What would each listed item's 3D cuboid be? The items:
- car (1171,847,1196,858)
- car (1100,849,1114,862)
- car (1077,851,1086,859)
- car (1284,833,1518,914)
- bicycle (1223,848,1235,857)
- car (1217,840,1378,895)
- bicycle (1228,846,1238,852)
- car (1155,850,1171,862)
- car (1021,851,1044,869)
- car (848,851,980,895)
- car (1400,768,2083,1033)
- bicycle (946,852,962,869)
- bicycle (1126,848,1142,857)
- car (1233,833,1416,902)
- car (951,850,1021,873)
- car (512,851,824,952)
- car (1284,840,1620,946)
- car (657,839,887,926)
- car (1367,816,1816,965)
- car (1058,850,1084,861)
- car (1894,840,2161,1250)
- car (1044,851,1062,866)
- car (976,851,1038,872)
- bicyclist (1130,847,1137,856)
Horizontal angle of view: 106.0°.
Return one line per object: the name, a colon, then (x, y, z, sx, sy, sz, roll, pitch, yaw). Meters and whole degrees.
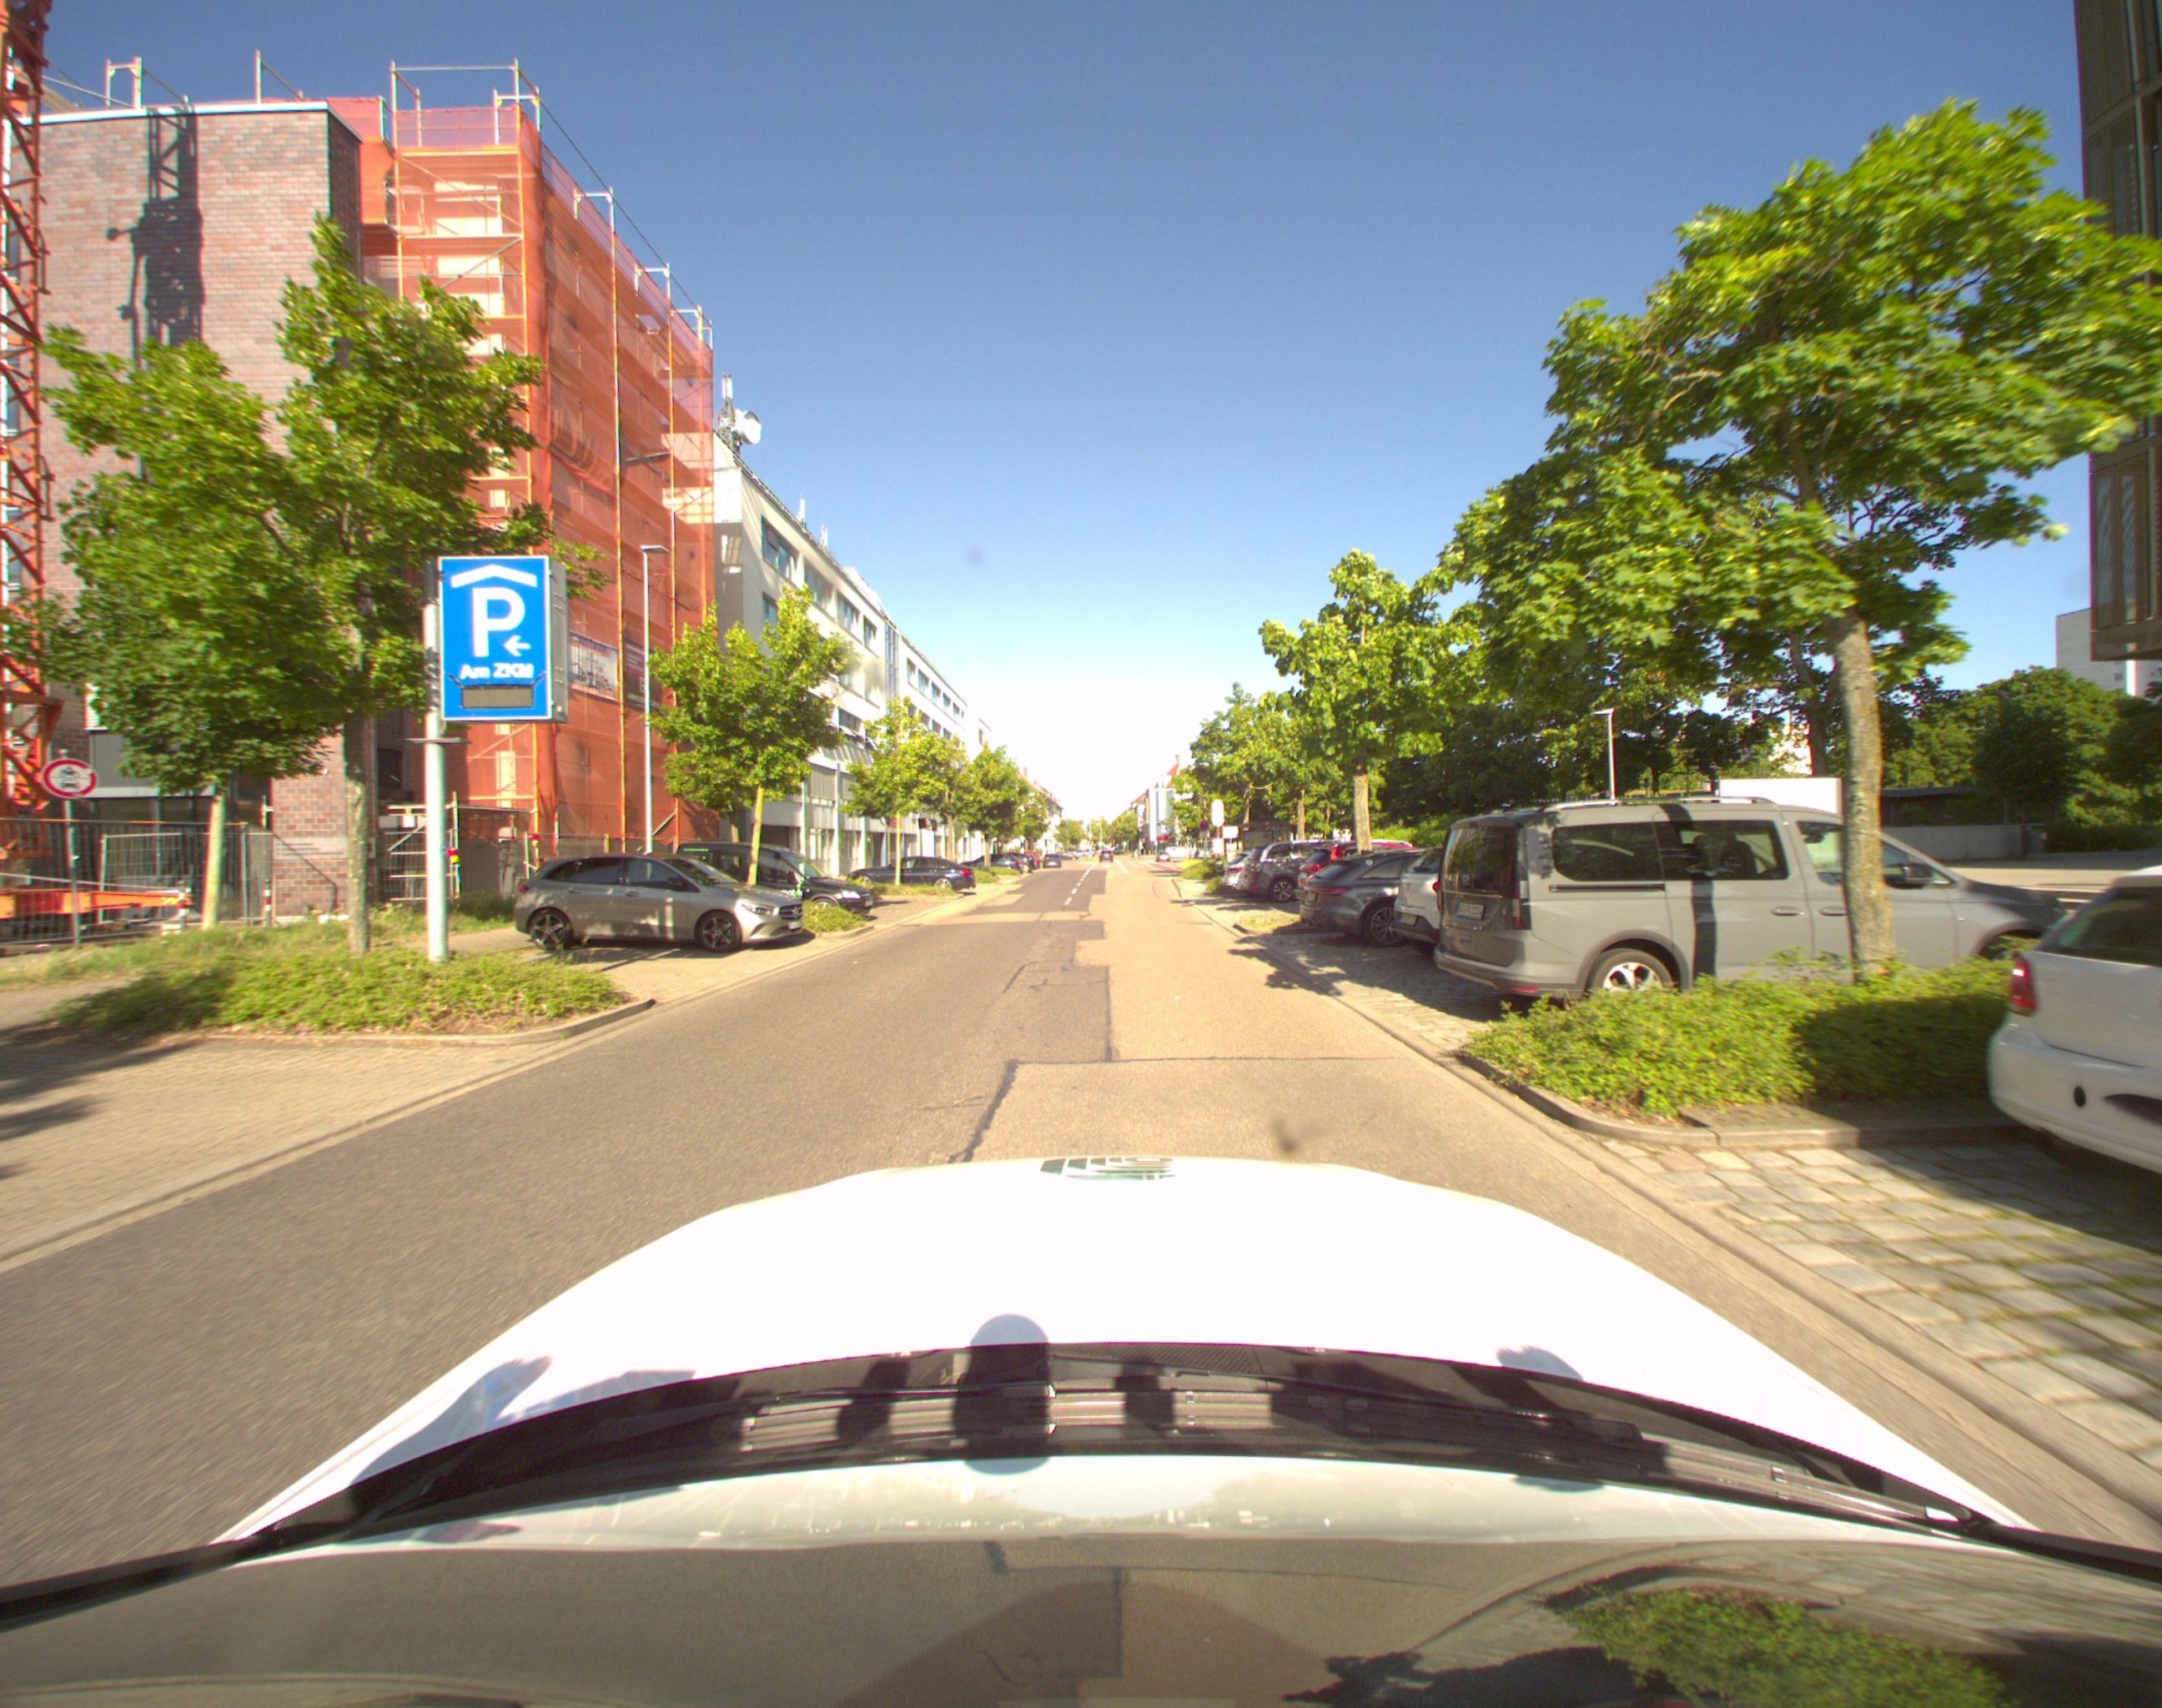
car: (16.171, -0.210, 129.017, 3.839, 1.577, 1.696, 1, 0, 6)
car: (3.443, 0.226, 107.600, 1.748, 1.628, 4.478, 1, 0, 0)
car: (0.187, 0.222, 176.691, 1.746, 1.556, 3.734, 1, 0, 3)
car: (6.879, 0.403, 17.871, 4.386, 1.536, 1.877, -2, 0, 1)
bicycle: (22.236, -0.212, 122.204, 0.782, 1.347, 2.277, -1, 0, 39)
car: (6.456, 0.384, 24.645, 4.386, 1.463, 1.896, -2, 0, 1)
bicycle: (30.810, -1.054, 165.011, 1.859, 1.182, 0.561, -1, 0, -3)
car: (11.119, 0.312, 111.229, 1.683, 1.577, 3.869, 1, 0, -1)
car: (-4.508, 0.513, 75.899, 1.682, 1.607, 4.312, 1, 0, 1)
car: (-5.993, 0.666, 29.611, 4.374, 1.432, 1.976, 1, 0, -3)
car: (5.476, 0.356, 7.306, 4.386, 1.892, 2.075, -2, 0, 1)
bicycle: (-10.624, 0.509, 68.359, 0.705, 1.347, 2.237, -2, 0, 7)
bicycle: (7.880, -0.185, 120.916, 2.233, 1.347, 0.798, -1, 0, 36)
car: (6.566, 0.350, 22.357, 4.386, 1.641, 2.075, -2, 0, 1)
car: (-6.170, 0.487, 53.165, 4.375, 1.432, 1.692, 1, 0, -4)
car: (-6.841, 0.756, 13.806, 4.370, 1.514, 1.694, 1, 0, 0)
car: (5.682, 0.565, 12.945, 4.386, 1.409, 2.075, -2, 0, 1)
car: (-6.810, 0.603, 18.259, 4.368, 1.745, 1.848, 1, 0, 2)
car: (6.208, 0.420, 10.375, 4.386, 1.557, 2.075, -2, 0, 1)
car: (-1.511, 0.237, 125.922, 3.939, 1.600, 1.675, -2, 0, -1)
car: (5.623, 0.628, 2.970, 3.630, 1.422, 1.676, -2, 0, 0)
car: (-2.748, 0.430, 81.472, 1.683, 1.468, 4.544, -2, 0, -2)
car: (-5.448, 0.536, 60.122, 4.373, 1.432, 1.897, 1, 0, -2)
bicyclist: (7.847, -0.387, 120.947, 0.695, 1.347, 0.798, -1, 0, 36)
